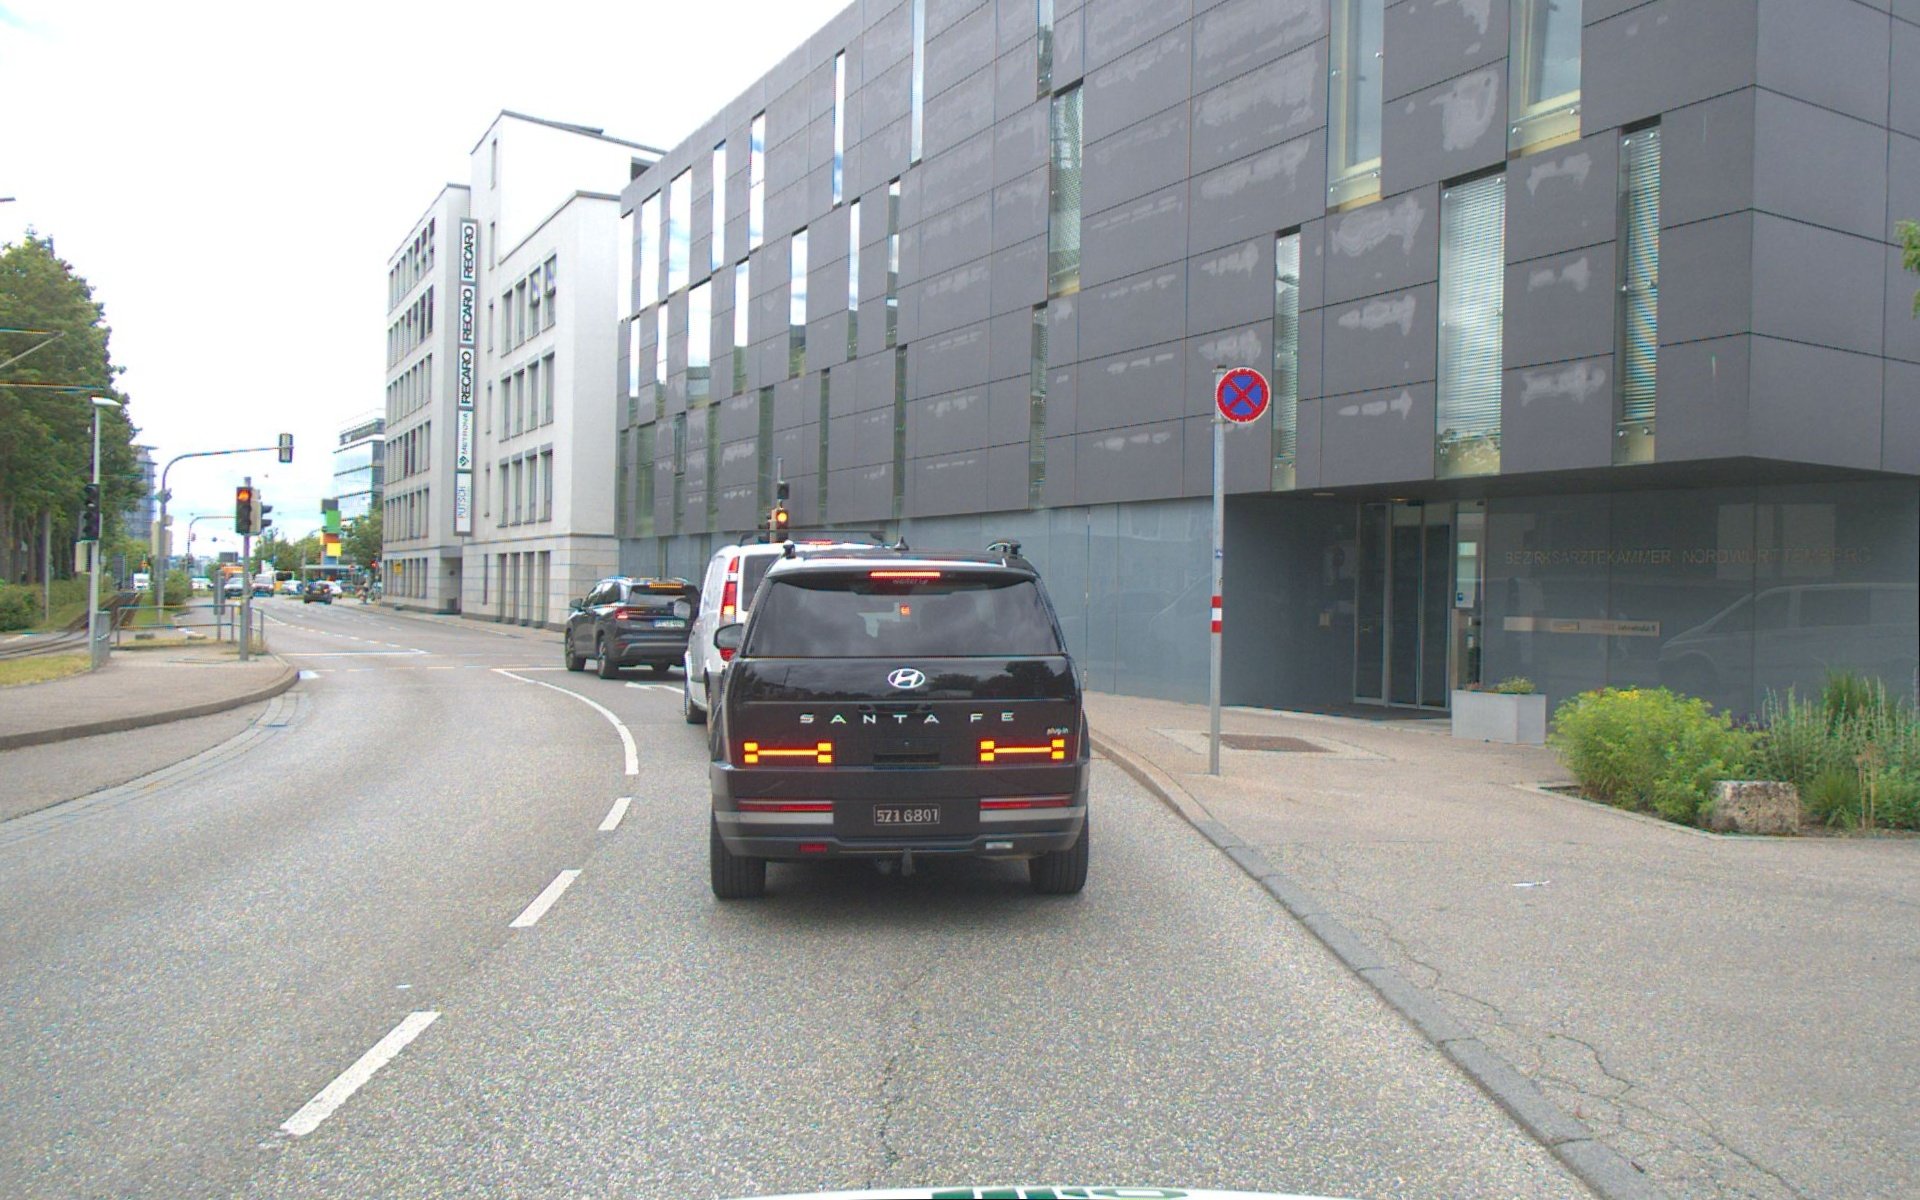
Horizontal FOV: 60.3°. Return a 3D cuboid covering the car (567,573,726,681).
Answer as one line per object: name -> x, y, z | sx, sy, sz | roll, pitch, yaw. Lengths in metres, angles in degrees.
car -> -5.466, 0.424, 28.441 | 1.823, 1.706, 4.343 | 0, 0, -23

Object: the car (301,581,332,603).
car -> -46.714, -0.583, 120.162 | 1.871, 1.512, 3.978 | 1, 0, -19

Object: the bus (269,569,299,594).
bus -> -90.960, -2.502, 222.423 | 3.045, 2.979, 10.256 | 3, 0, -26

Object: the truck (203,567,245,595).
truck -> -77.254, -1.966, 173.613 | 2.554, 2.874, 6.897 | 1, 0, -37

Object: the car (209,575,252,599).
car -> -54.285, -0.997, 123.108 | 1.816, 1.725, 3.994 | 1, 0, -7

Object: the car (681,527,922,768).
car -> -1.731, 0.388, 16.584 | 1.823, 2.069, 4.422 | 1, 1, -13

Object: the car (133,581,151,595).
car -> -114.252, -1.699, 230.981 | 1.897, 1.755, 4.125 | 3, 0, -32

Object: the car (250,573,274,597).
car -> -59.233, -1.265, 140.443 | 1.826, 1.956, 3.973 | 1, 0, -22

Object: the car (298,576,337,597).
car -> -55.269, -1.187, 142.297 | 1.843, 1.790, 3.937 | 1, 0, -43

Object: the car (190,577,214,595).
car -> -85.300, -1.579, 186.068 | 1.897, 1.755, 4.124 | 3, 0, -33

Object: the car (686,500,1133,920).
car -> -0.352, 0.472, 9.285 | 1.877, 1.755, 4.167 | 3, 0, -4

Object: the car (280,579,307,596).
car -> -66.224, -1.252, 164.367 | 1.852, 1.641, 3.957 | 1, 0, -32

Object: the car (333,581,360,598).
car -> -62.061, -1.100, 167.389 | 1.852, 1.641, 3.957 | 1, 0, -32
